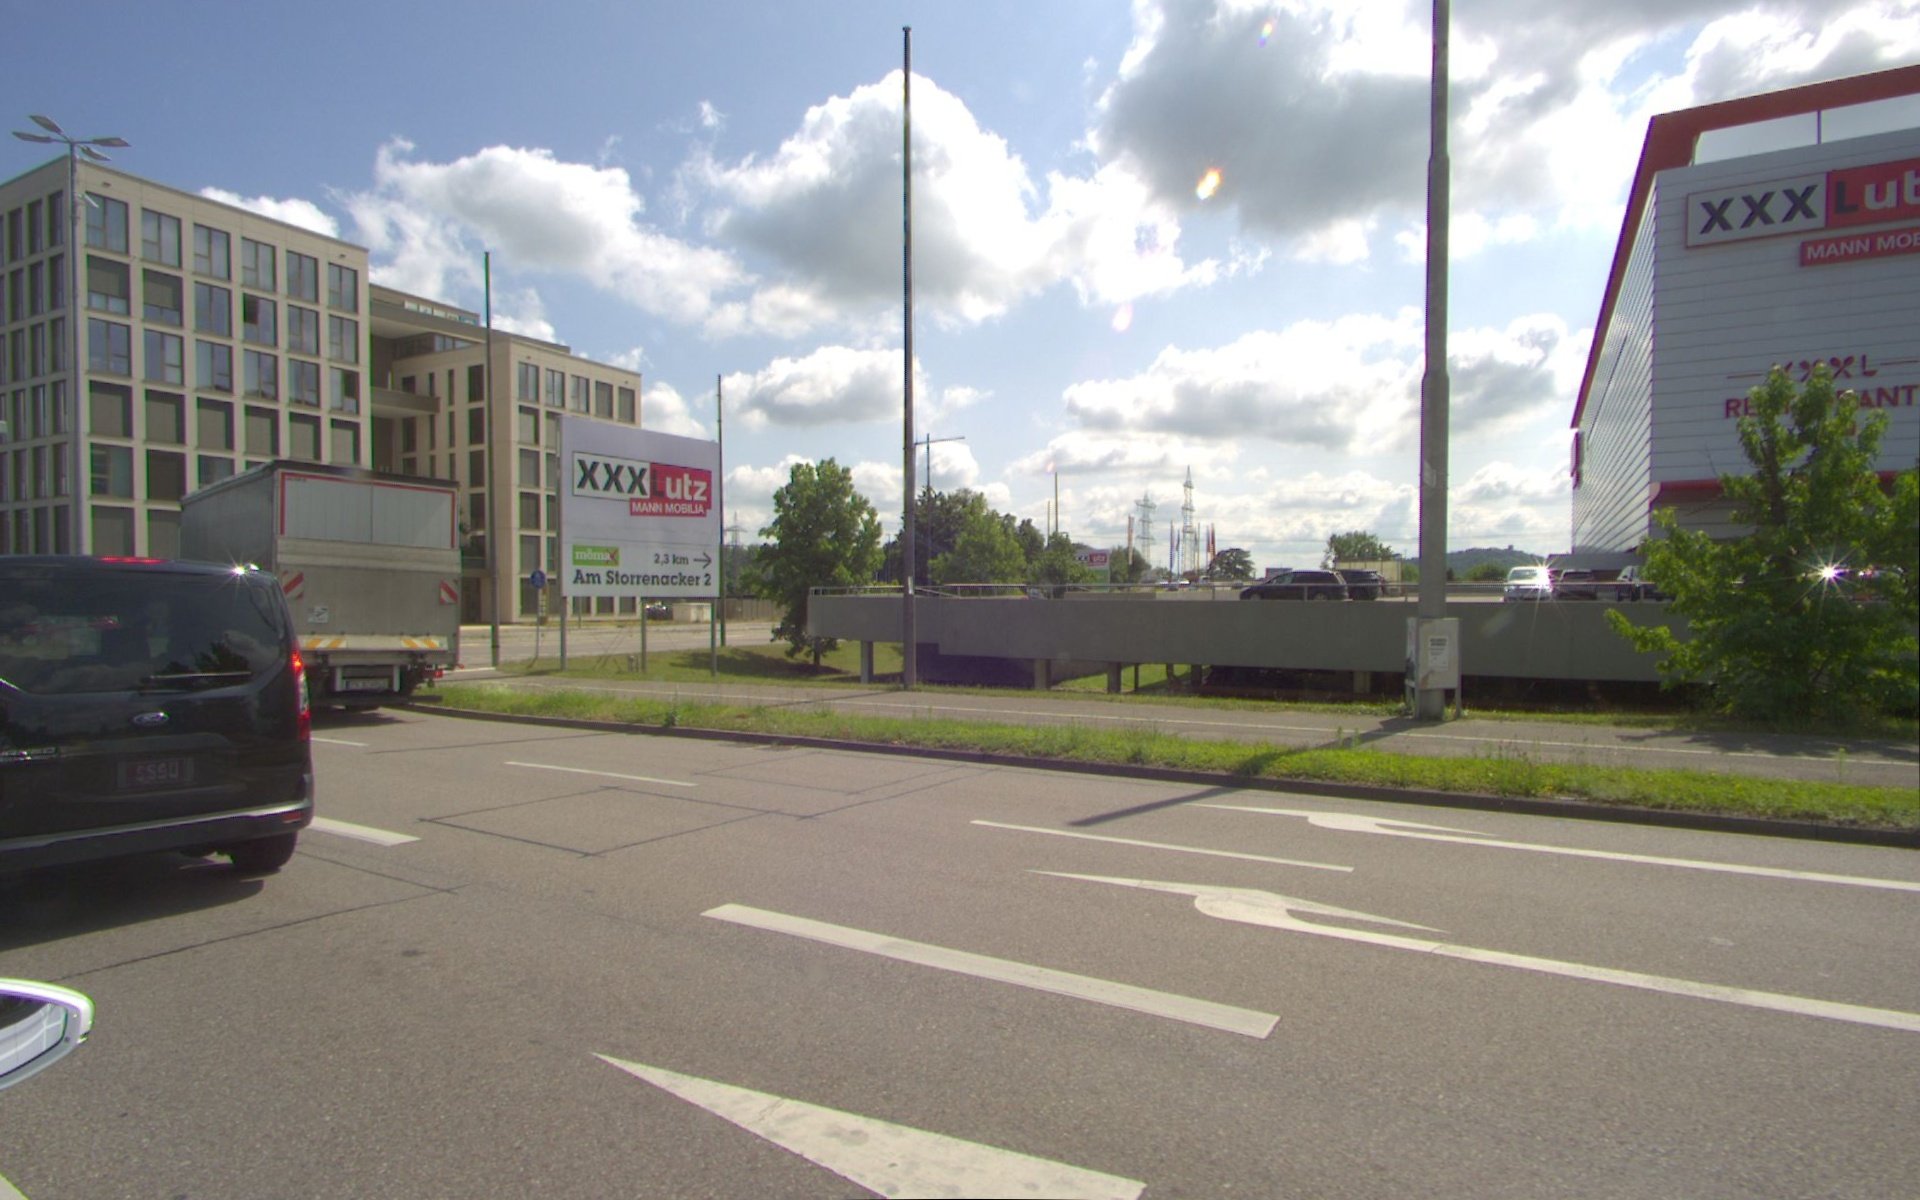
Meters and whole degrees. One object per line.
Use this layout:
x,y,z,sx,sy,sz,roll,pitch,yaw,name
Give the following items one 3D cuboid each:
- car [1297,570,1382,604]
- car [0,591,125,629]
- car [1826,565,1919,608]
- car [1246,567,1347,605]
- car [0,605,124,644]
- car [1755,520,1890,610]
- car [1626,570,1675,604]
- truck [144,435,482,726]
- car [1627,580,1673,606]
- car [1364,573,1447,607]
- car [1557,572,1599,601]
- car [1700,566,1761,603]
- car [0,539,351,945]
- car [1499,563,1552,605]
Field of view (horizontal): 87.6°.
19.017,-0.624,50.161,3.806,1.622,1.742,1,0,27,car
-40.872,0.441,44.861,1.969,1.628,4.978,1,-1,29,car
36.179,-0.484,39.784,1.970,1.563,3.981,1,-1,31,car
14.117,-0.573,42.045,3.806,1.541,1.869,1,0,27,car
-37.834,1.010,42.004,1.768,1.509,3.888,1,-1,31,car
24.793,-0.893,29.011,1.957,2.223,5.157,0,-2,29,car
31.499,-0.560,45.740,1.561,1.428,3.521,0,-1,30,car
-11.867,-0.184,17.876,8.763,3.991,3.112,-1,-1,44,truck
35.050,-0.343,50.910,1.670,1.199,3.890,1,-1,31,car
23.674,-0.522,53.241,3.936,1.751,1.993,1,0,27,car
32.993,-0.703,53.534,1.682,1.438,3.894,1,-1,28,car
32.319,-0.641,42.062,1.561,1.429,3.521,1,-1,30,car
-5.617,0.669,6.117,3.946,1.832,1.815,0,-1,35,car
23.464,-0.621,41.636,1.608,1.596,3.897,1,-1,25,car
